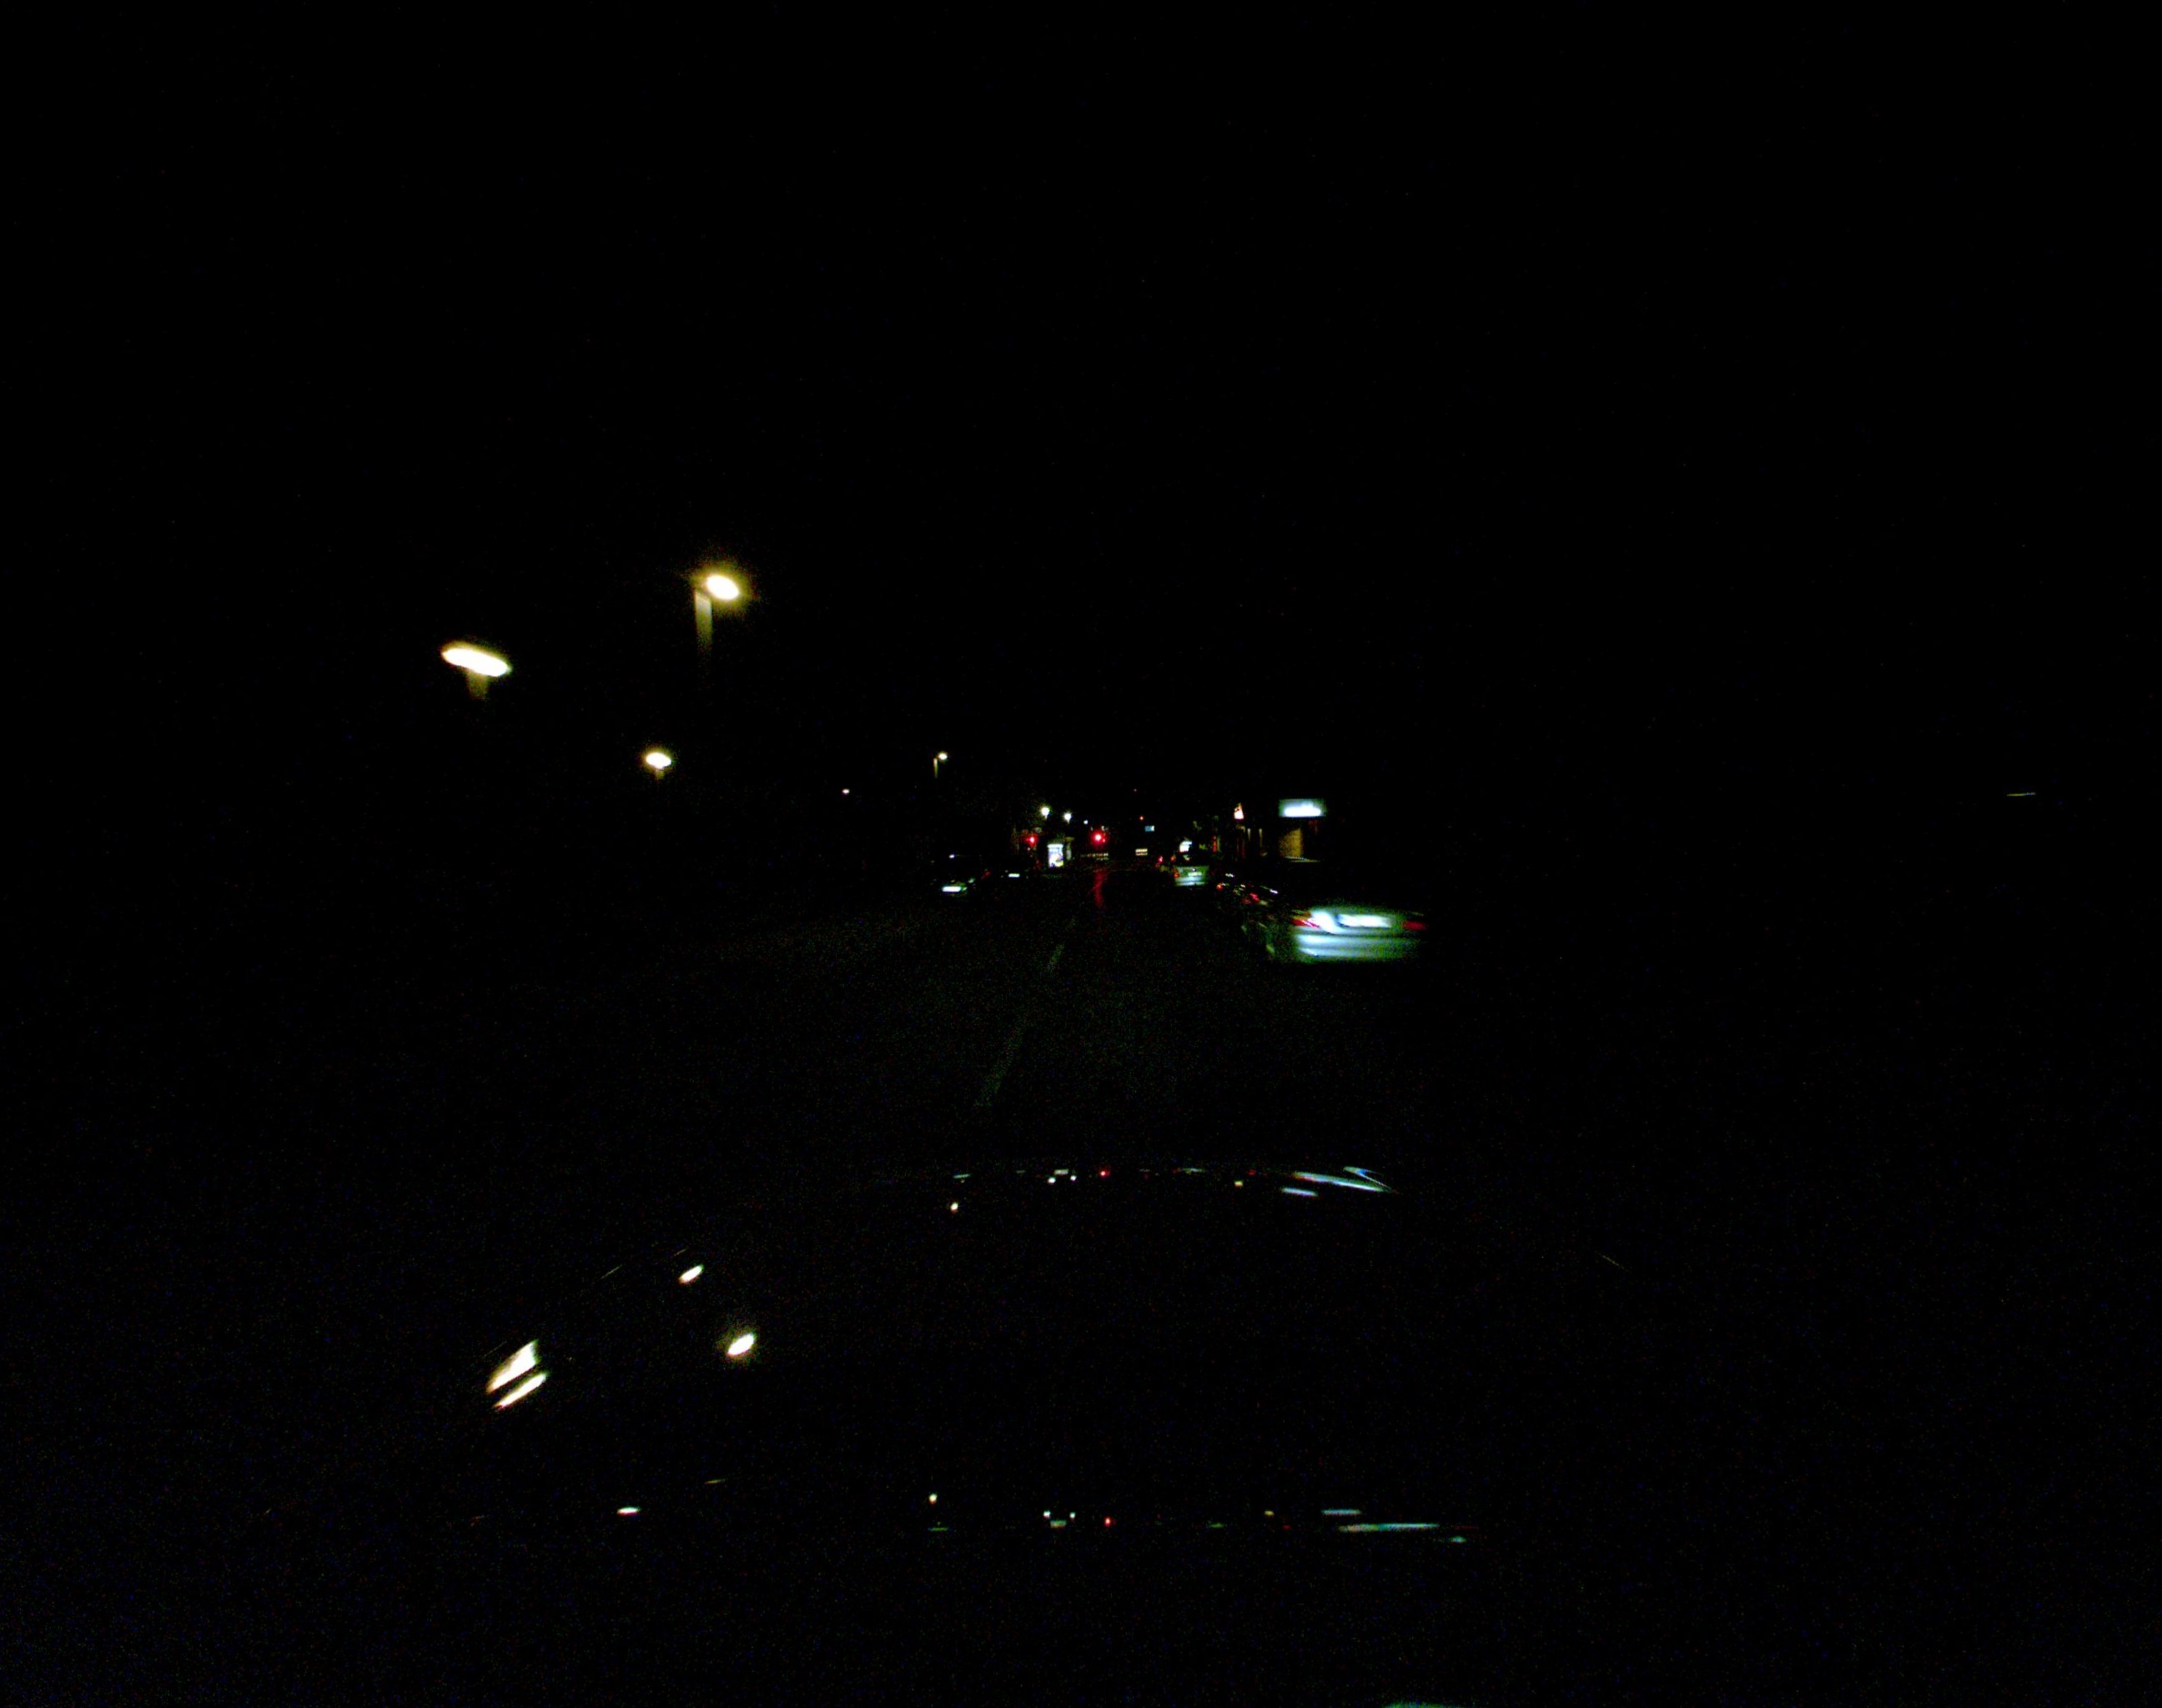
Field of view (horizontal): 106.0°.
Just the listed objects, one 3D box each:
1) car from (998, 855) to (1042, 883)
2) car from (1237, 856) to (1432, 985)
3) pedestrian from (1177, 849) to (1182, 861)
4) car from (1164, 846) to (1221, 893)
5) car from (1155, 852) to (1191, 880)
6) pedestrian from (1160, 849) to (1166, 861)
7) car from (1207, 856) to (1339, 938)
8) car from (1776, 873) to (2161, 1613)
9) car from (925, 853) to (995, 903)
[{"bbox_3d":[-3.245,0.773,44.156,1.683,1.436,4.134,1,0,5],"label":"car"},{"bbox_3d":[3.323,0.757,11.572,1.669,1.447,4.617,1,0,5],"label":"car"},{"bbox_3d":[15.086,0.156,125.115,0.711,1.795,0.740,0,-1,14],"label":"pedestrian"},{"bbox_3d":[4.263,0.567,31.784,1.779,1.641,4.383,-3,0,3],"label":"car"},{"bbox_3d":[5.377,0.671,47.870,1.849,1.442,4.599,-3,0,4],"label":"car"},{"bbox_3d":[12.539,0.140,124.538,0.711,1.795,0.571,0,-1,14],"label":"pedestrian"},{"bbox_3d":[3.776,0.769,16.740,1.774,1.437,4.290,1,0,1],"label":"car"},{"bbox_3d":[2.964,0.765,0.252,1.756,1.416,4.440,0,0,0],"label":"car"},{"bbox_3d":[-3.931,0.773,27.021,1.686,1.524,3.692,0,-1,1],"label":"car"}]
